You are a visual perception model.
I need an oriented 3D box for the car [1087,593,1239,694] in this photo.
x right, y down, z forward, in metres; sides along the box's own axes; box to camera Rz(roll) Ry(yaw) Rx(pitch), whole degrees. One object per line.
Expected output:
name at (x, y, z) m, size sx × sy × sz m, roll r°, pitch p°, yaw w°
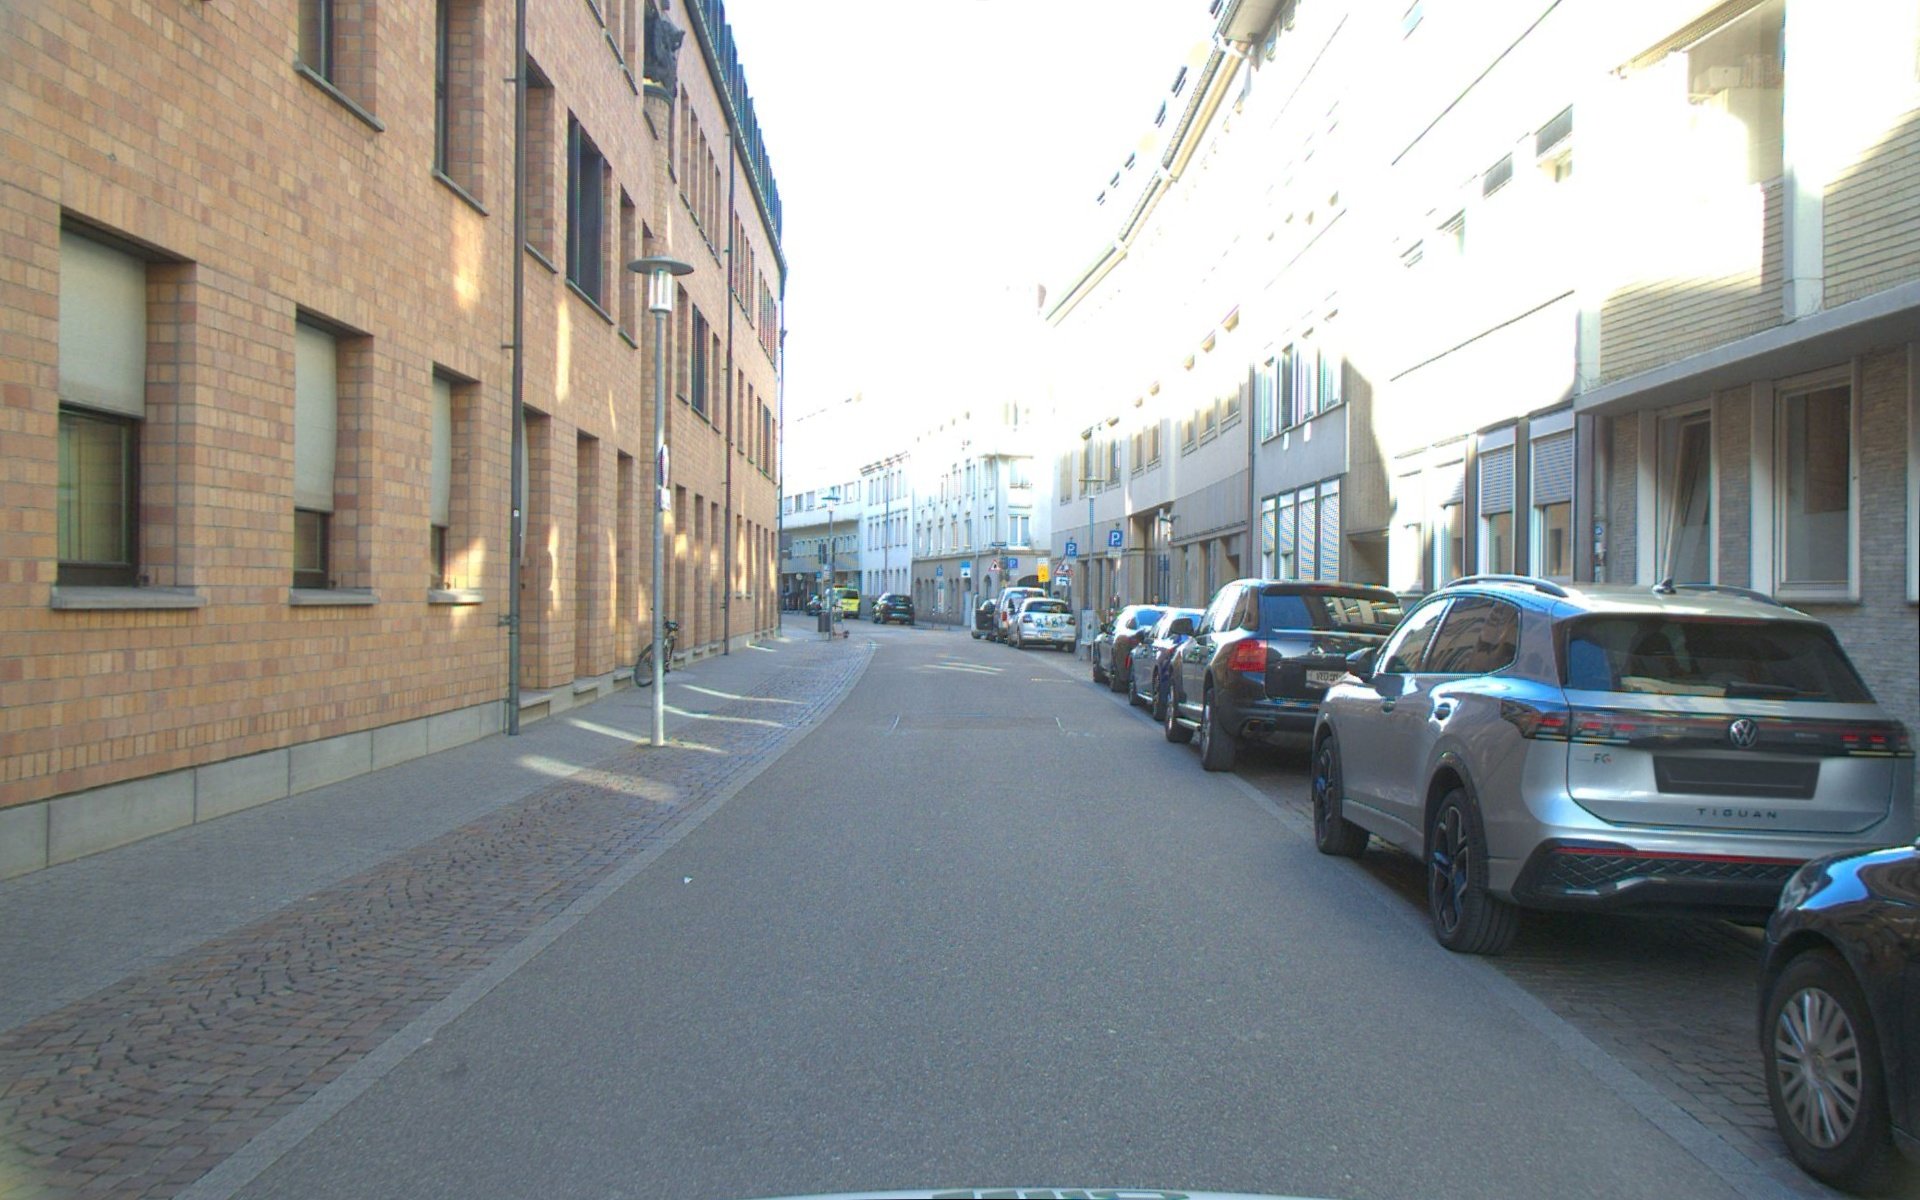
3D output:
car at (3.321, 0.659, 28.073) m, size 1.855 × 1.478 × 5.225 m, roll 2°, pitch 0°, yaw -1°

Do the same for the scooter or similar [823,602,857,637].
scooter or similar at (-4.307, 0.693, 59.377) m, size 0.683 × 1.239 × 1.357 m, roll 0°, pitch 0°, yaw 23°

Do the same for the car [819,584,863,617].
car at (-7.749, 0.013, 107.302) m, size 2.020 × 2.049 × 4.156 m, roll 1°, pitch 0°, yaw -17°

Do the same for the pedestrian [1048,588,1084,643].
pedestrian at (3.542, 0.518, 55.563) m, size 1.021 × 1.833 × 1.197 m, roll 1°, pitch -1°, yaw -5°

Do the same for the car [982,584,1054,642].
car at (1.899, 0.423, 55.646) m, size 1.795 × 1.822 × 5.209 m, roll 2°, pitch 0°, yaw -5°

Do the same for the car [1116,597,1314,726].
car at (3.289, 0.739, 22.245) m, size 1.771 × 1.437 × 4.789 m, roll 3°, pitch 0°, yaw -1°

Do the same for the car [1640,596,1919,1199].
car at (3.178, 0.830, 3.241) m, size 1.785 × 1.531 × 4.600 m, roll 4°, pitch 1°, yaw 1°

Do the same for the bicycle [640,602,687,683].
bicycle at (-4.689, 0.654, 26.222) m, size 0.619 × 1.182 × 1.800 m, roll 4°, pitch 0°, yaw -9°

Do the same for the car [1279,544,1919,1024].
car at (3.132, 0.692, 8.659) m, size 1.953 × 1.731 × 4.843 m, roll 3°, pitch 0°, yaw 0°

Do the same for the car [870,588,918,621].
car at (-3.684, 0.245, 91.223) m, size 1.933 × 1.721 × 4.089 m, roll 2°, pitch 0°, yaw -12°

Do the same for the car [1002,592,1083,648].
car at (2.425, 0.568, 49.367) m, size 1.805 × 1.504 × 4.164 m, roll 3°, pitch 0°, yaw -5°

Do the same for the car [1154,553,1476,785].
car at (3.201, 0.551, 16.062) m, size 2.060 × 1.817 × 5.052 m, roll 2°, pitch 0°, yaw 1°

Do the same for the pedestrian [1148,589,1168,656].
pedestrian at (5.001, 0.566, 41.787) m, size 0.470 × 1.683 × 0.539 m, roll 0°, pitch 0°, yaw 11°

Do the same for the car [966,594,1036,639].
car at (1.491, 0.590, 61.573) m, size 1.853 × 1.545 × 4.054 m, roll 1°, pitch 0°, yaw -9°

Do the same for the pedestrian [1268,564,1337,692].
pedestrian at (4.814, 0.390, 23.273) m, size 0.772 × 1.751 × 0.746 m, roll -1°, pitch 0°, yaw 0°
